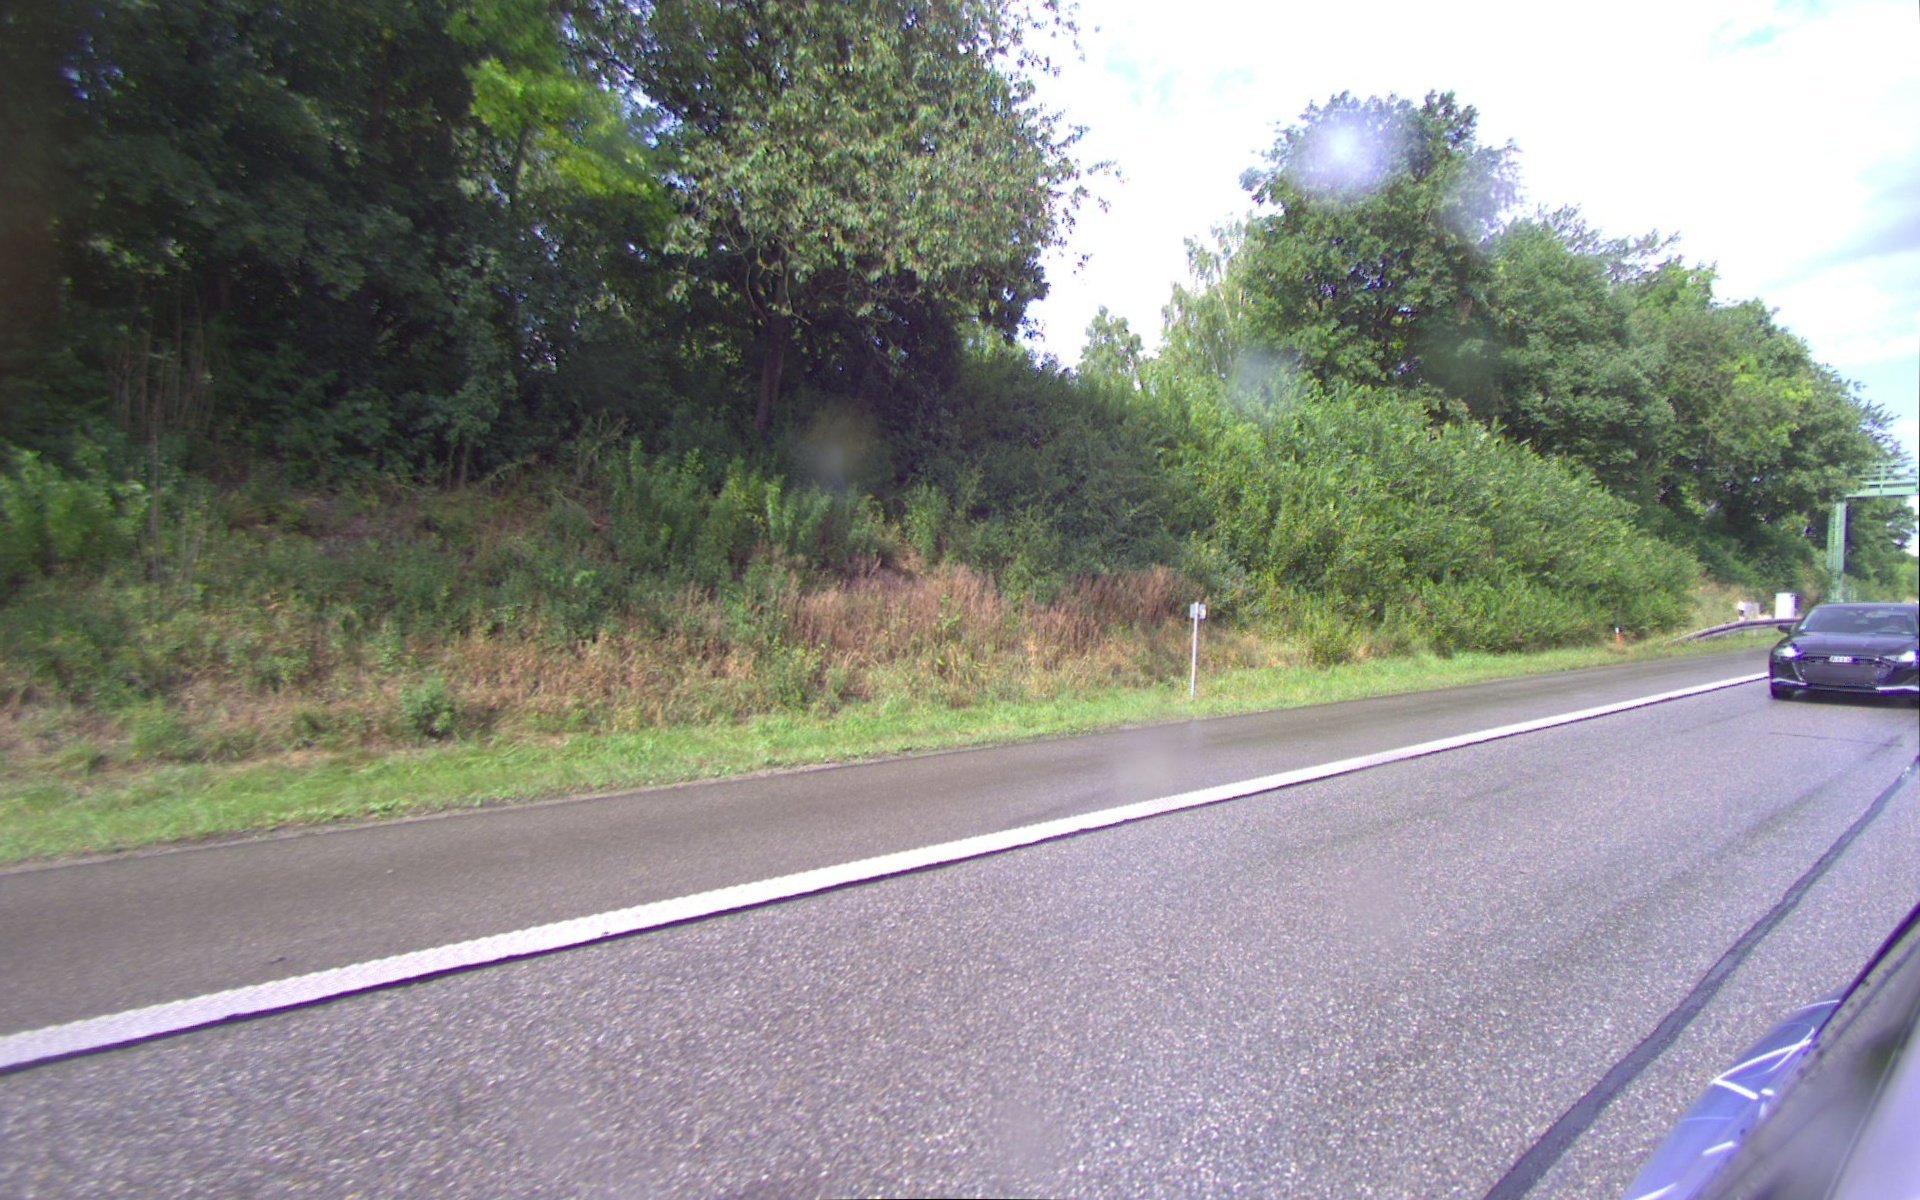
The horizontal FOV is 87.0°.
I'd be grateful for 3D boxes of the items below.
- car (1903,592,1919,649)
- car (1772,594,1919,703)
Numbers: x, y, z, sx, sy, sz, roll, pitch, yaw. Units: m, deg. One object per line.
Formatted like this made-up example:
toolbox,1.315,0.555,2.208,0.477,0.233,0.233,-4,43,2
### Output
car,26.432,0.520,26.954,3.681,1.474,1.653,0,1,-42
car,13.742,0.623,15.166,4.292,1.414,1.758,0,1,-41
